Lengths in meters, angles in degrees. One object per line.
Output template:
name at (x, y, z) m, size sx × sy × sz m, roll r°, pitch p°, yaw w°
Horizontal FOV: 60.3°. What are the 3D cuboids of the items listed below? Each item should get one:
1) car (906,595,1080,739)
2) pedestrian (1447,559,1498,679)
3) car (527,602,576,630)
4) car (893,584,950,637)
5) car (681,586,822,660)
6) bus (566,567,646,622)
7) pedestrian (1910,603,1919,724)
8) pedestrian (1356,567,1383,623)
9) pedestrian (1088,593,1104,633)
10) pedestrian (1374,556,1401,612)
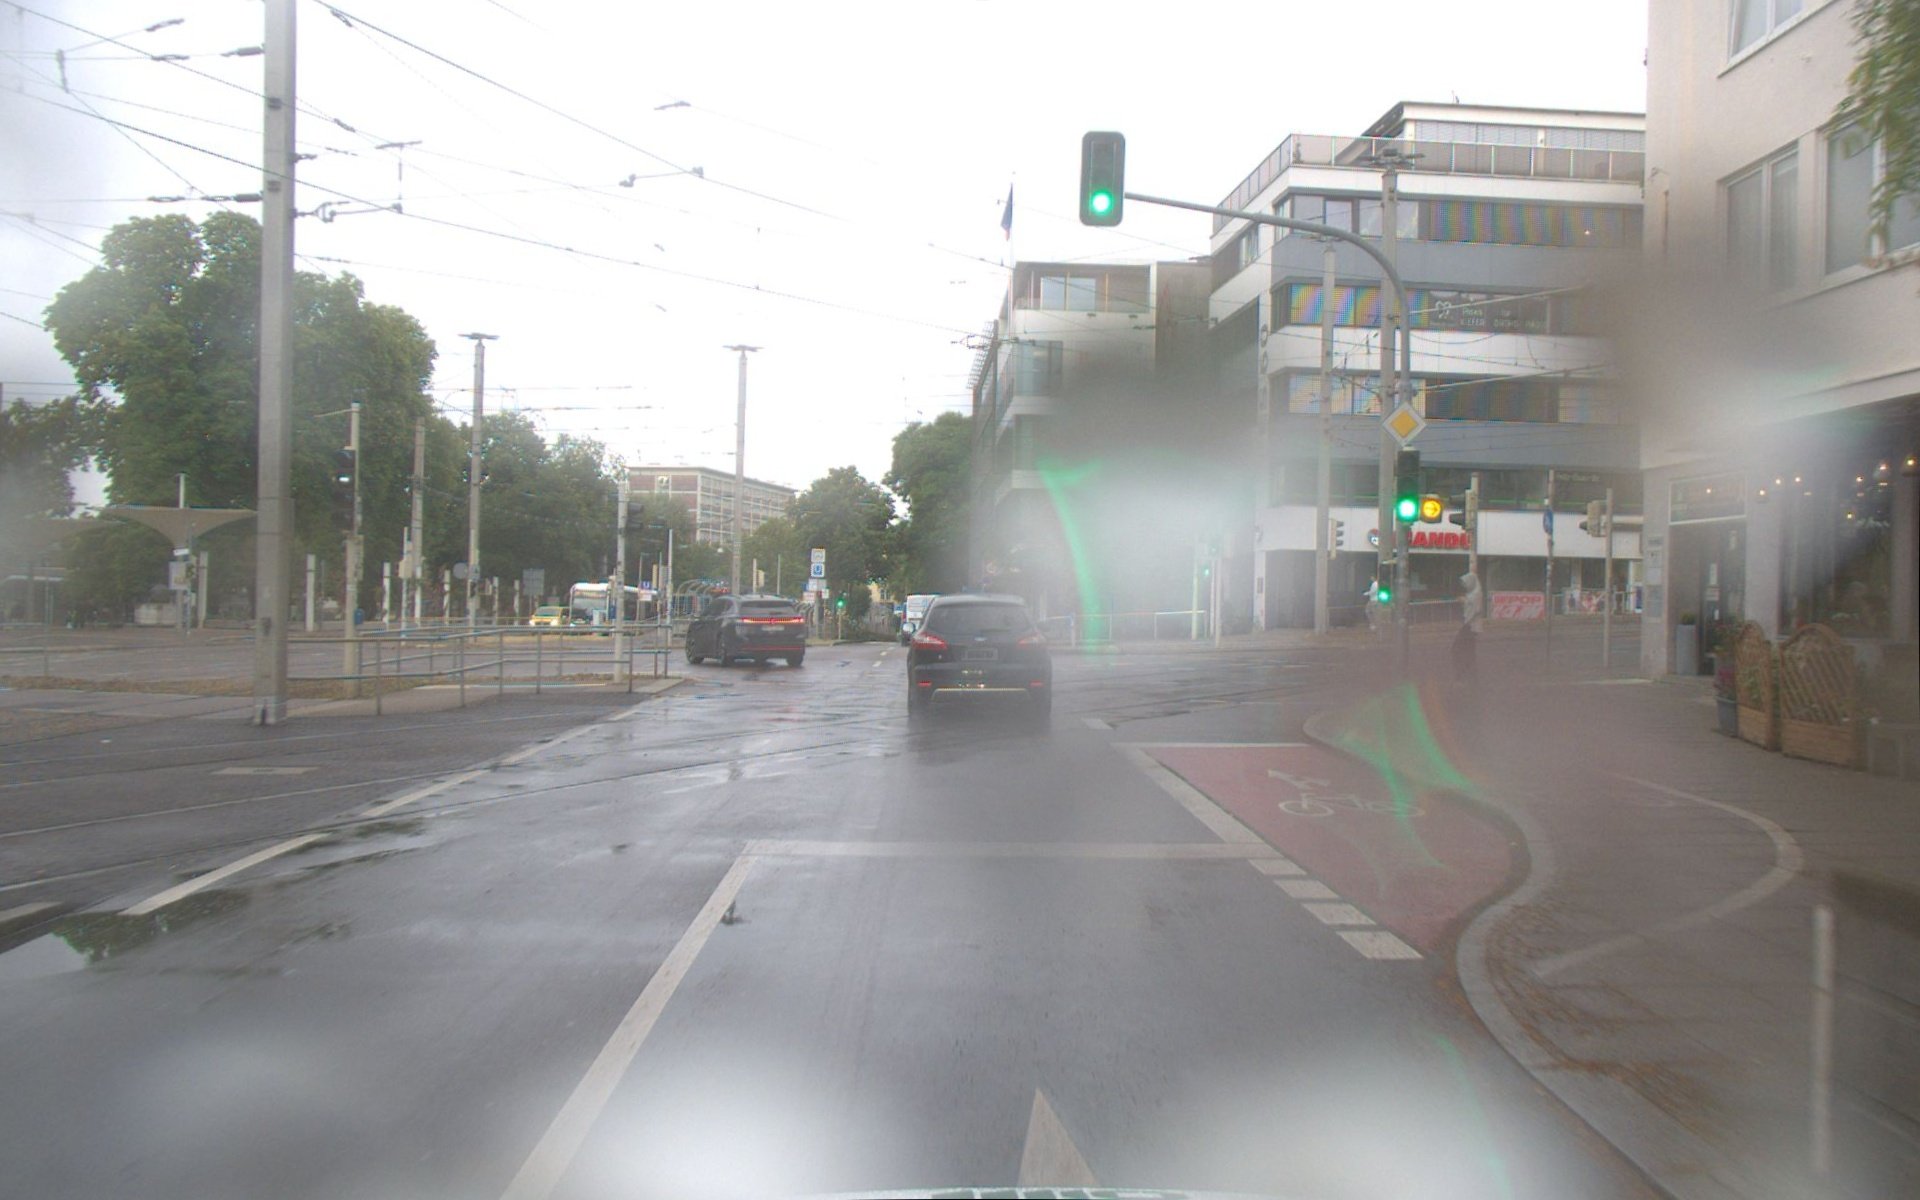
car at (0.344, 0.780, 21.481) m, size 1.994 × 1.612 × 4.391 m, roll 1°, pitch 1°, yaw -1°
pedestrian at (7.595, 0.268, 24.504) m, size 0.518 × 1.742 × 0.703 m, roll 0°, pitch 0°, yaw 37°
car at (-25.447, 0.972, 103.145) m, size 1.953 × 1.674 × 4.536 m, roll 0°, pitch 0°, yaw 0°
car at (-1.405, 0.372, 62.025) m, size 1.994 × 1.872 × 4.392 m, roll 1°, pitch 1°, yaw 1°
car at (-4.737, 0.474, 36.946) m, size 2.069 × 1.532 × 4.701 m, roll 0°, pitch 0°, yaw -21°
bus at (-22.850, -0.340, 107.543) m, size 3.015 × 3.358 × 12.517 m, roll 0°, pitch 0°, yaw -2°
pedestrian at (10.091, 0.635, 16.443) m, size 0.910 × 1.212 × 0.635 m, roll -1°, pitch 0°, yaw -1°
pedestrian at (14.293, -0.180, 57.747) m, size 0.705 × 1.947 × 0.695 m, roll 0°, pitch 0°, yaw 37°
pedestrian at (5.400, 0.511, 65.616) m, size 0.530 × 1.590 × 0.521 m, roll 0°, pitch 0°, yaw 19°
pedestrian at (15.050, -0.552, 58.263) m, size 0.705 × 1.947 × 0.695 m, roll 0°, pitch 0°, yaw 37°
